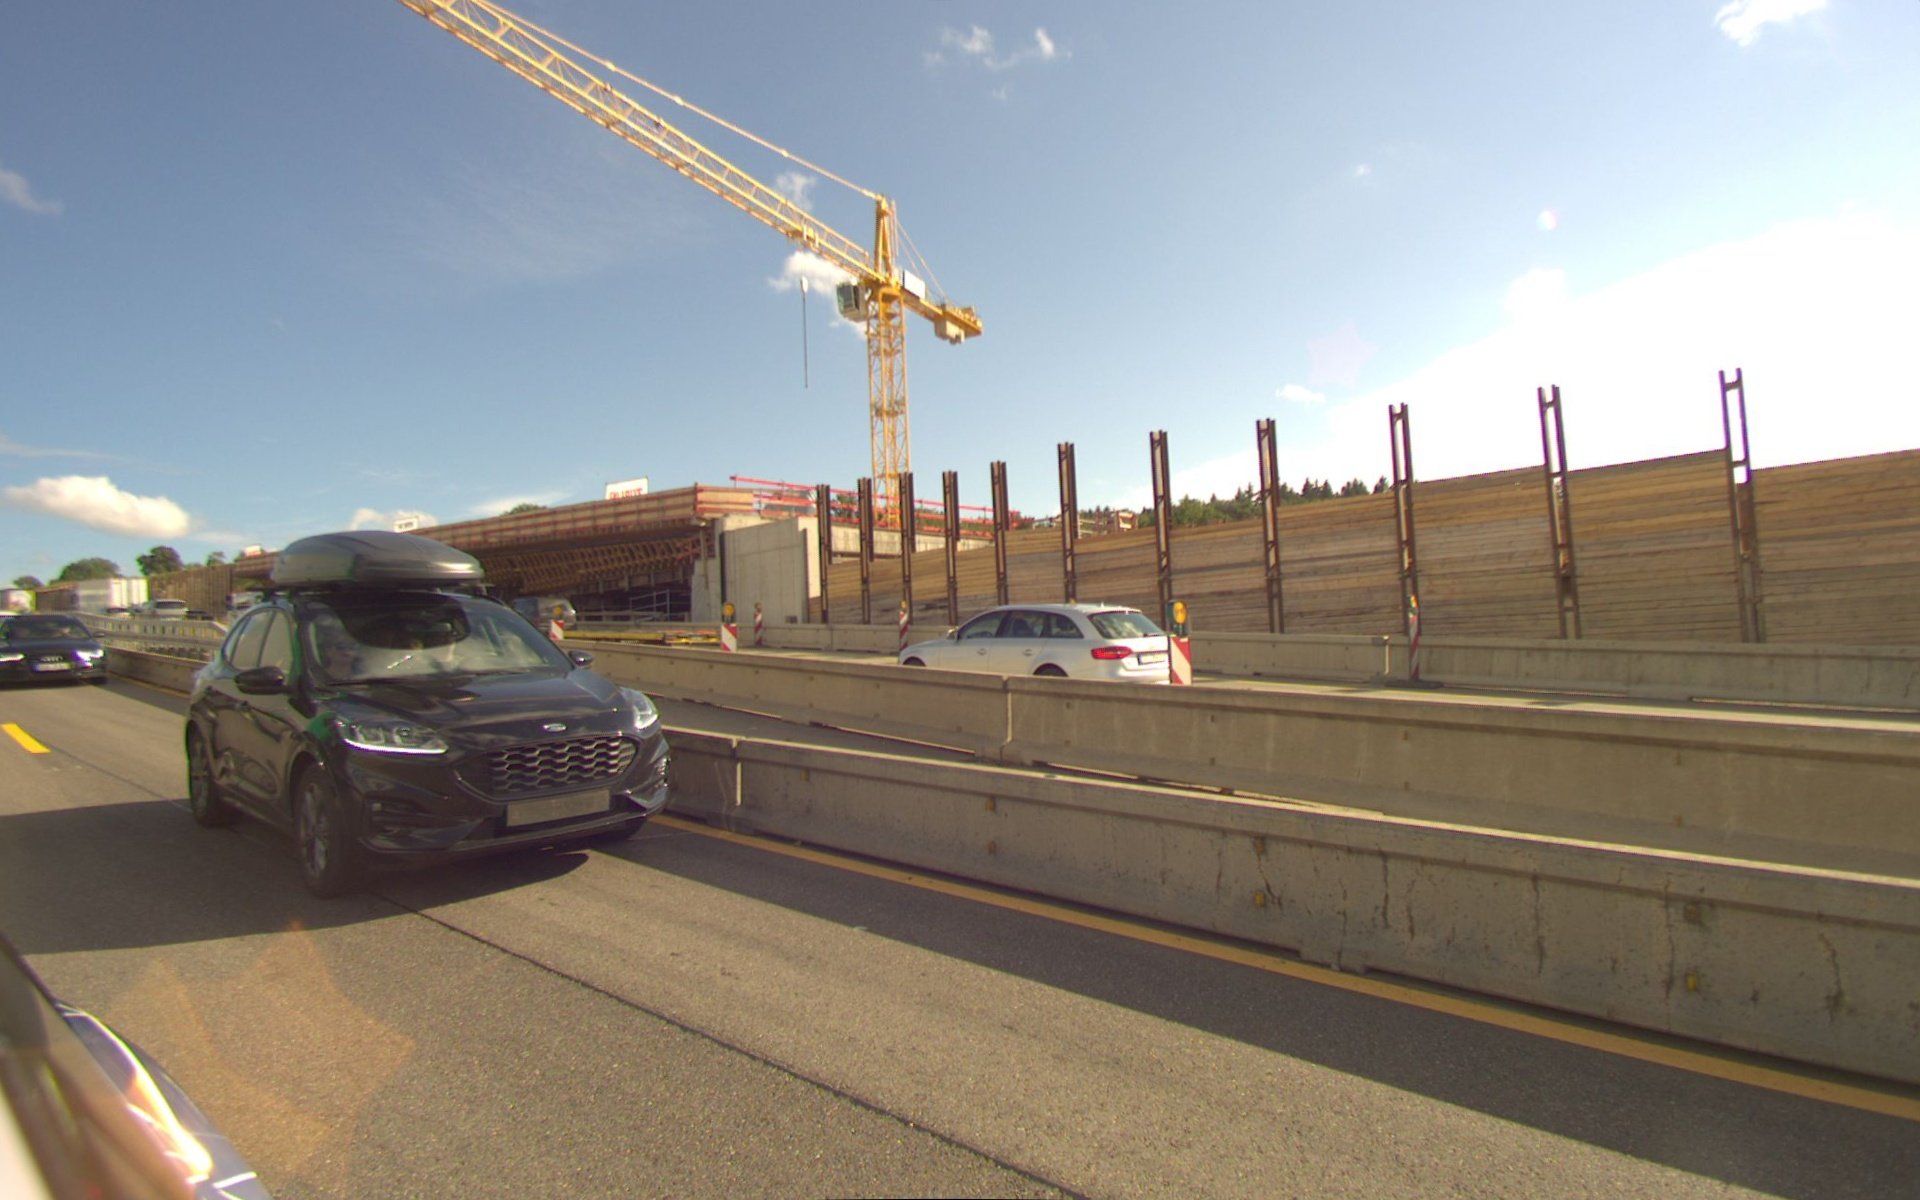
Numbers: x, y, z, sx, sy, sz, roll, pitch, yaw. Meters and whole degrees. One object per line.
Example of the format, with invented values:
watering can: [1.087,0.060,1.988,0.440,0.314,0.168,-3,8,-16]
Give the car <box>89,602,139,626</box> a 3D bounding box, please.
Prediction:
car: [-61.719,1.018,73.843,4.269,1.686,2.104,-2,0,40]

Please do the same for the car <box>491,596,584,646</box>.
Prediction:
car: [-16.360,0.755,39.059,1.969,1.817,4.450,-1,1,-42]

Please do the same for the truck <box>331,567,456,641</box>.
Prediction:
truck: [-27.542,0.150,49.048,7.528,3.336,2.674,0,1,39]

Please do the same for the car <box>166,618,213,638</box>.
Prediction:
car: [-54.321,1.958,71.321,3.998,1.282,1.900,0,1,41]

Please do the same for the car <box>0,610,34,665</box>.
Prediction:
car: [-30.816,1.161,32.134,4.563,1.576,1.782,0,1,44]

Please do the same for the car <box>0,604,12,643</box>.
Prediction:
car: [-40.928,0.969,42.065,4.560,1.576,1.783,0,1,42]

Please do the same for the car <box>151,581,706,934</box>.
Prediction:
car: [-3.674,0.726,6.591,4.383,1.554,1.780,-1,-1,42]

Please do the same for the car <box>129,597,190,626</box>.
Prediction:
car: [-51.046,0.755,64.522,5.027,1.779,2.104,-2,0,40]

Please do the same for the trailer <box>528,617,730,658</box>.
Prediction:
trailer: [-11.314,1.150,33.663,2.323,0.947,10.340,-1,1,-43]

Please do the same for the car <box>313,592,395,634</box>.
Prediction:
car: [-25.612,0.574,42.695,4.751,1.648,1.831,-2,0,45]

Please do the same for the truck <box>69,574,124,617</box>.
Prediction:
truck: [-77.993,-0.424,91.422,6.012,3.817,2.749,0,1,39]

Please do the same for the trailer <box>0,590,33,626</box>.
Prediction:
trailer: [-116.510,0.933,123.992,13.802,4.187,2.660,0,1,40]

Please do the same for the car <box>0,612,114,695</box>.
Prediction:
car: [-19.344,1.038,21.260,4.660,1.467,1.783,0,1,42]

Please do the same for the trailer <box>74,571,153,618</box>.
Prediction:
trailer: [-73.318,-0.470,87.510,13.792,3.870,2.792,0,1,40]

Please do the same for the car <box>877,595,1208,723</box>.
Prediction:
car: [0.956,0.713,13.954,1.830,1.451,4.565,-1,0,-41]

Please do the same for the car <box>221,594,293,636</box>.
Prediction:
car: [-42.970,0.858,61.795,5.864,2.420,2.235,0,1,41]
